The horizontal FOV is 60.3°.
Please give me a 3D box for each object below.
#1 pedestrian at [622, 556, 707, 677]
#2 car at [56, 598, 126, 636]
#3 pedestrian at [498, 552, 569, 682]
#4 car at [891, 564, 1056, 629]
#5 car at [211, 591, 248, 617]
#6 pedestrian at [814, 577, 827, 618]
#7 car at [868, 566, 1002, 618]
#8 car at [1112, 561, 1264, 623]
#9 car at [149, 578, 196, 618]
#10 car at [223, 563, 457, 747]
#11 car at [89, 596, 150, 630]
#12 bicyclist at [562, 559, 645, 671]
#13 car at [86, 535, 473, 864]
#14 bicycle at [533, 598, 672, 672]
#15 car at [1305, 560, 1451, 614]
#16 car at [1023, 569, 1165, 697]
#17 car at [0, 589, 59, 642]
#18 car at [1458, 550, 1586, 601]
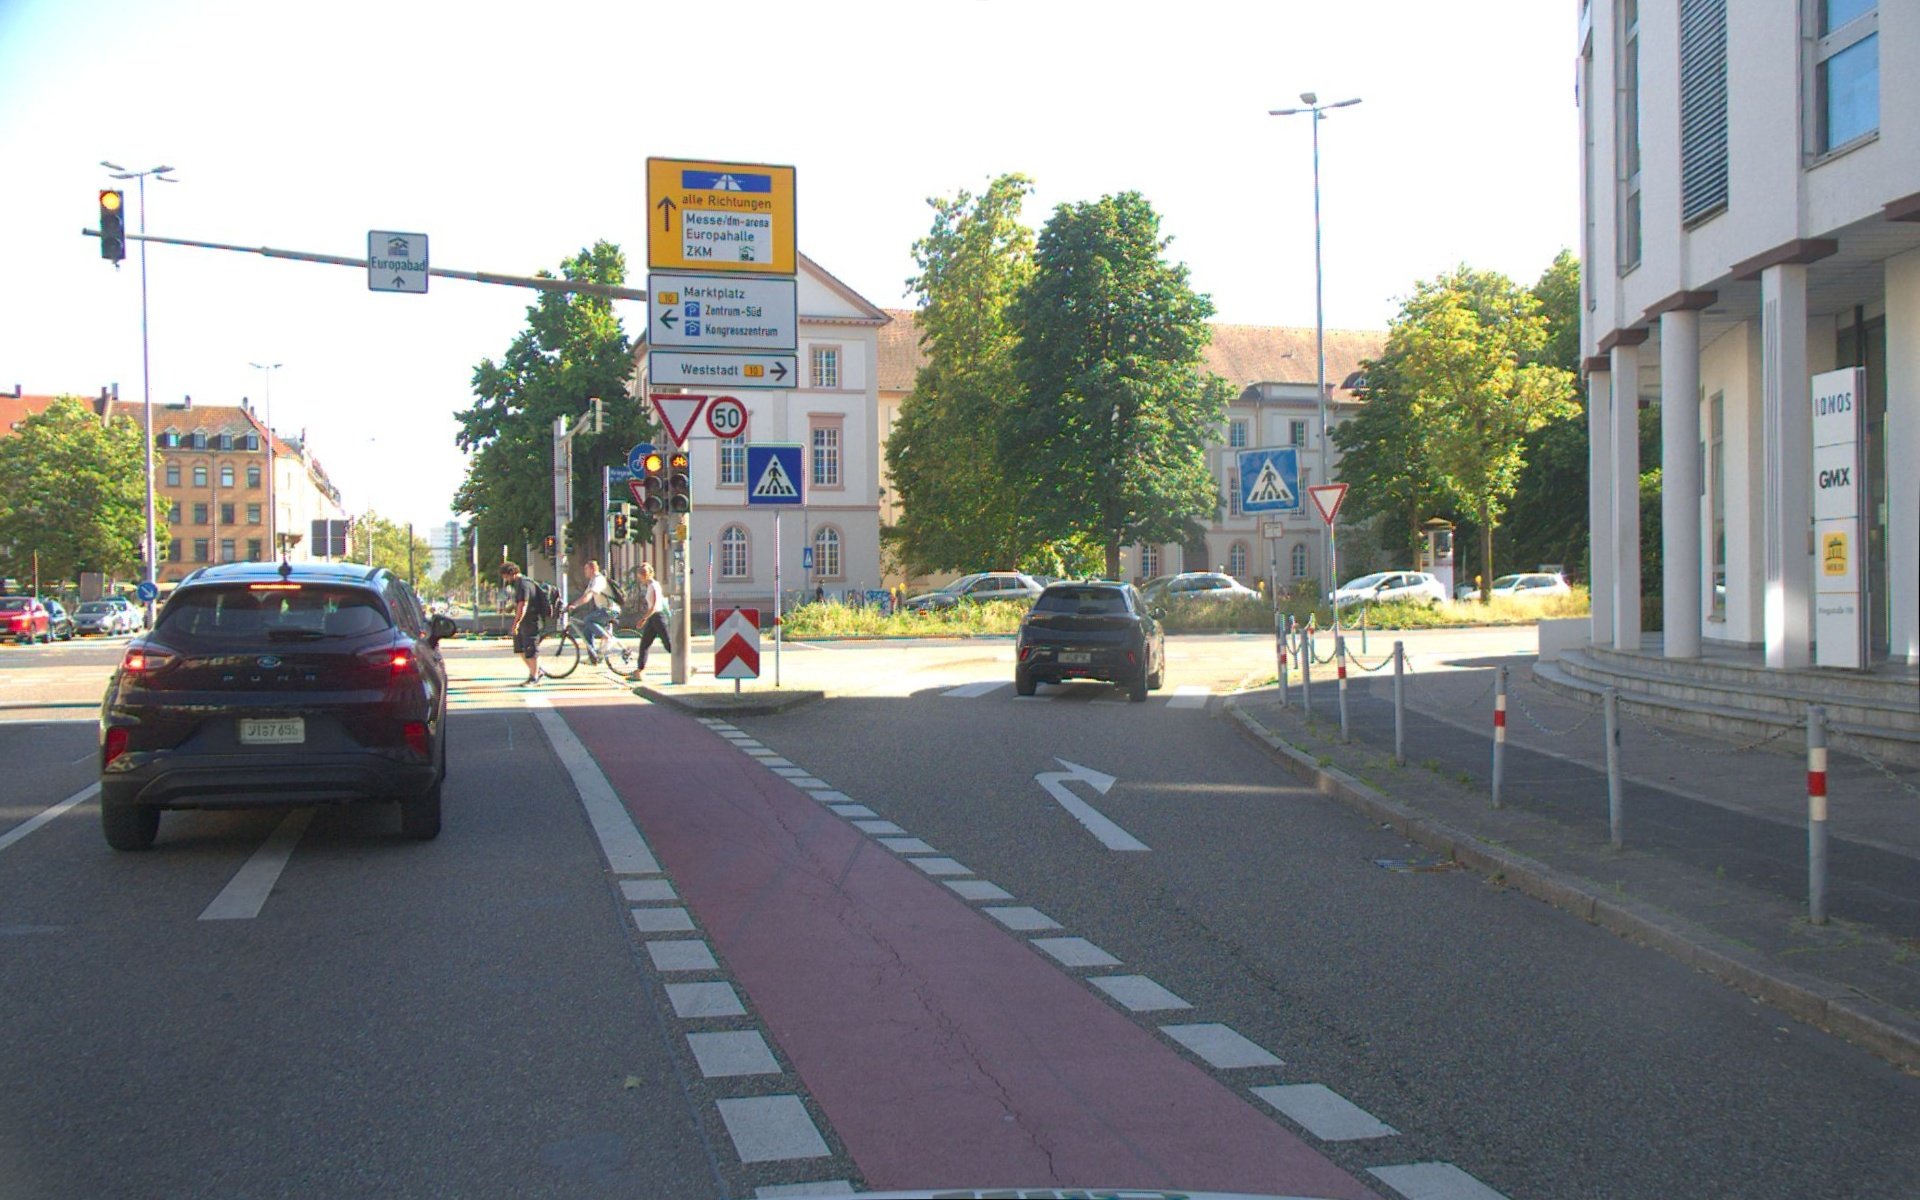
[{"bbox_3d":[-4.250,0.224,23.771,1.027,1.688,0.778,-2,1,-23],"label":"pedestrian"},{"bbox_3d":[-36.401,0.675,69.372,1.845,1.473,3.980,-1,1,-18],"label":"car"},{"bbox_3d":[-5.838,0.218,22.617,0.814,1.731,0.911,0,0,-23],"label":"pedestrian"},{"bbox_3d":[0.361,-0.117,44.500,4.061,1.629,1.808,-1,1,-24],"label":"car"},{"bbox_3d":[-48.667,0.233,110.279,1.782,1.662,3.980,-1,1,-18],"label":"car"},{"bbox_3d":[-5.573,-0.095,66.114,0.433,1.643,0.466,1,-1,-12],"label":"pedestrian"},{"bbox_3d":[-0.832,-0.280,54.541,4.061,1.629,1.808,-1,1,-24],"label":"car"},{"bbox_3d":[6.554,-0.252,47.646,3.932,1.672,1.910,-1,1,-22],"label":"car"},{"bbox_3d":[-43.743,-0.143,91.967,1.782,2.171,3.980,-1,1,-18],"label":"car"},{"bbox_3d":[-5.725,0.420,15.670,1.801,1.478,3.969,-1,1,-17],"label":"car"},{"bbox_3d":[-38.432,0.566,75.713,1.845,1.473,3.980,-1,1,-18],"label":"car"},{"bbox_3d":[-5.434,0.214,25.202,1.148,1.662,0.725,0,0,-20],"label":"bicyclist"},{"bbox_3d":[-4.000,0.459,10.277,1.801,1.606,3.821,-1,1,-17],"label":"car"},{"bbox_3d":[-5.433,0.521,25.140,2.001,1.079,0.618,0,0,-21],"label":"bicycle"},{"bbox_3d":[12.771,-0.413,50.548,4.120,1.534,1.808,-1,1,-24],"label":"car"},{"bbox_3d":[1.926,0.386,22.985,1.708,1.601,3.561,0,2,9],"label":"car"},{"bbox_3d":[-30.842,0.483,53.924,1.763,1.645,3.981,-1,1,-17],"label":"car"},{"bbox_3d":[19.344,-0.850,56.944,3.932,1.672,1.910,-1,1,-22],"label":"car"}]
